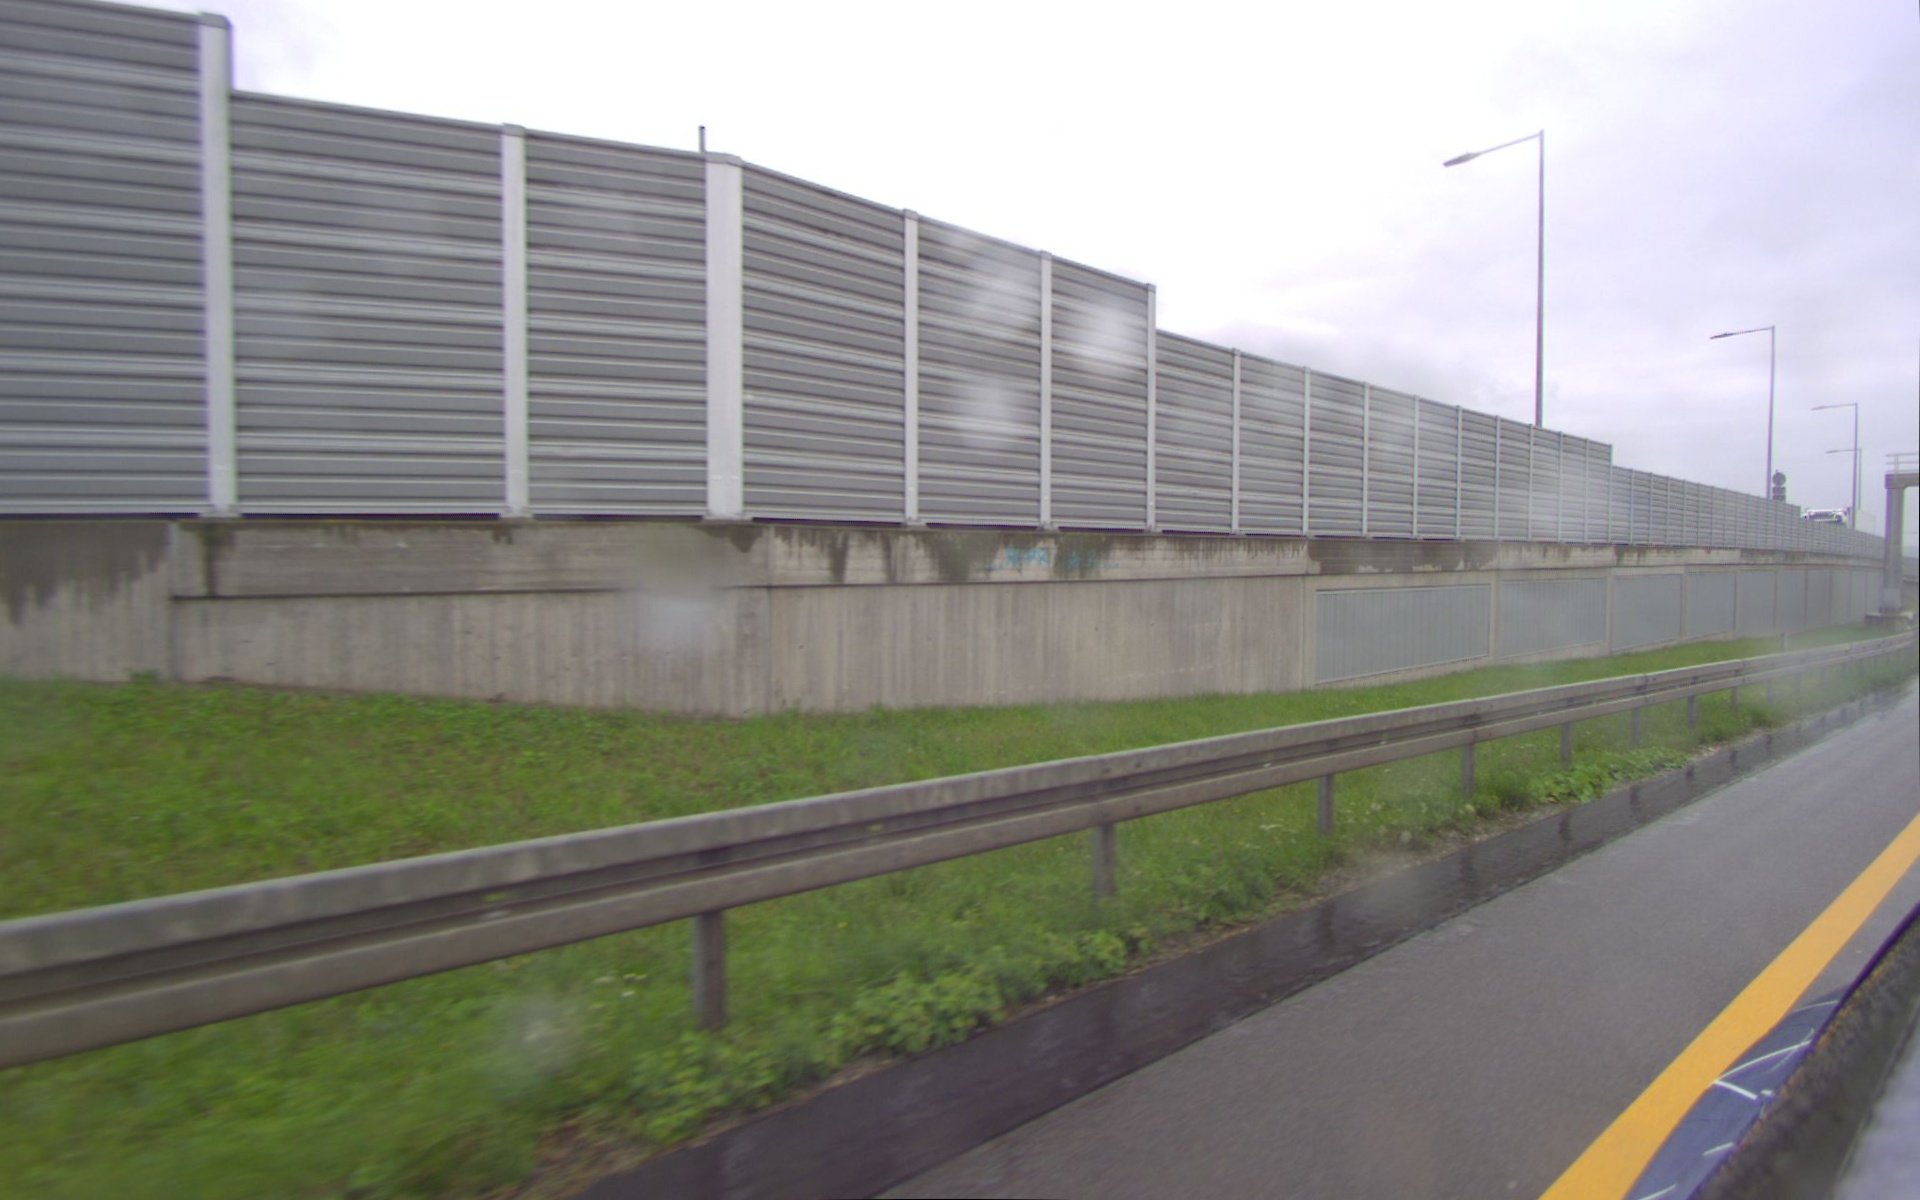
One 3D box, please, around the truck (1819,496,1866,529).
[{"bbox_3d":[61.472,-6.042,70.480,3.989,2.039,1.997,-2,1,-41],"label":"truck"}]
